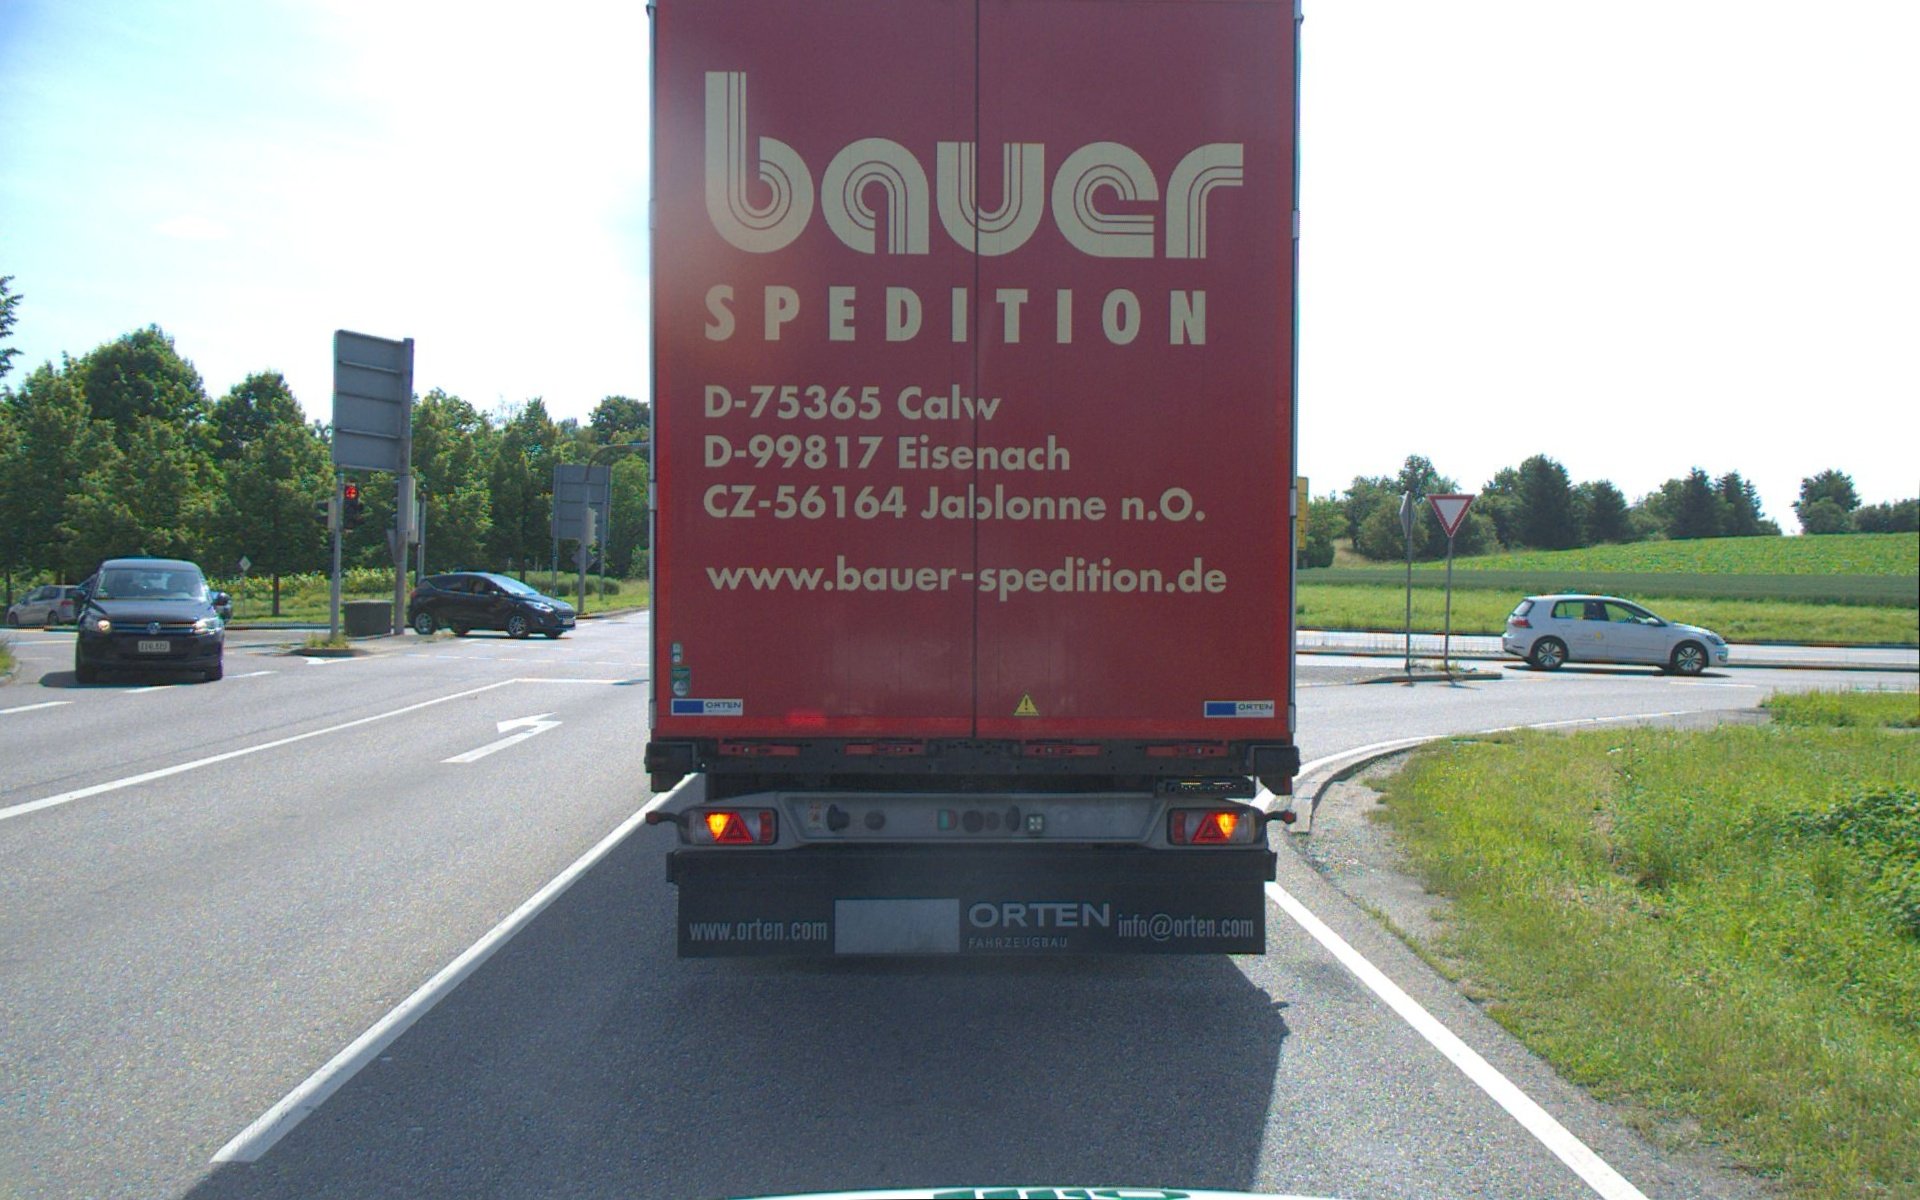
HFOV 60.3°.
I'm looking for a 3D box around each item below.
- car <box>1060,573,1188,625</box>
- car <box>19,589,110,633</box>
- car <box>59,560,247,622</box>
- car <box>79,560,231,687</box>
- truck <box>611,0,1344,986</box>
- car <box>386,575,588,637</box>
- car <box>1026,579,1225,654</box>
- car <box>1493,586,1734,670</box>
[{"bbox_3d":[5.362,-0.061,54.234,3.922,1.624,1.657,1,1,37],"label":"car"},{"bbox_3d":[-32.179,0.390,59.377,3.934,1.517,1.529,0,-1,40],"label":"car"},{"bbox_3d":[-20.171,-0.229,41.380,4.177,1.454,1.742,1,0,18],"label":"car"},{"bbox_3d":[-11.421,0.265,23.498,1.782,1.625,4.233,0,1,-26],"label":"car"},{"bbox_3d":[-0.083,-0.661,14.441,2.679,3.993,16.622,1,1,-1],"label":"truck"},{"bbox_3d":[-10.986,0.141,38.492,4.176,1.328,1.743,1,0,13],"label":"car"},{"bbox_3d":[3.530,0.323,35.164,3.949,1.441,1.796,1,1,15],"label":"car"},{"bbox_3d":[12.894,0.519,32.874,4.155,1.486,1.812,1,2,10],"label":"car"}]
